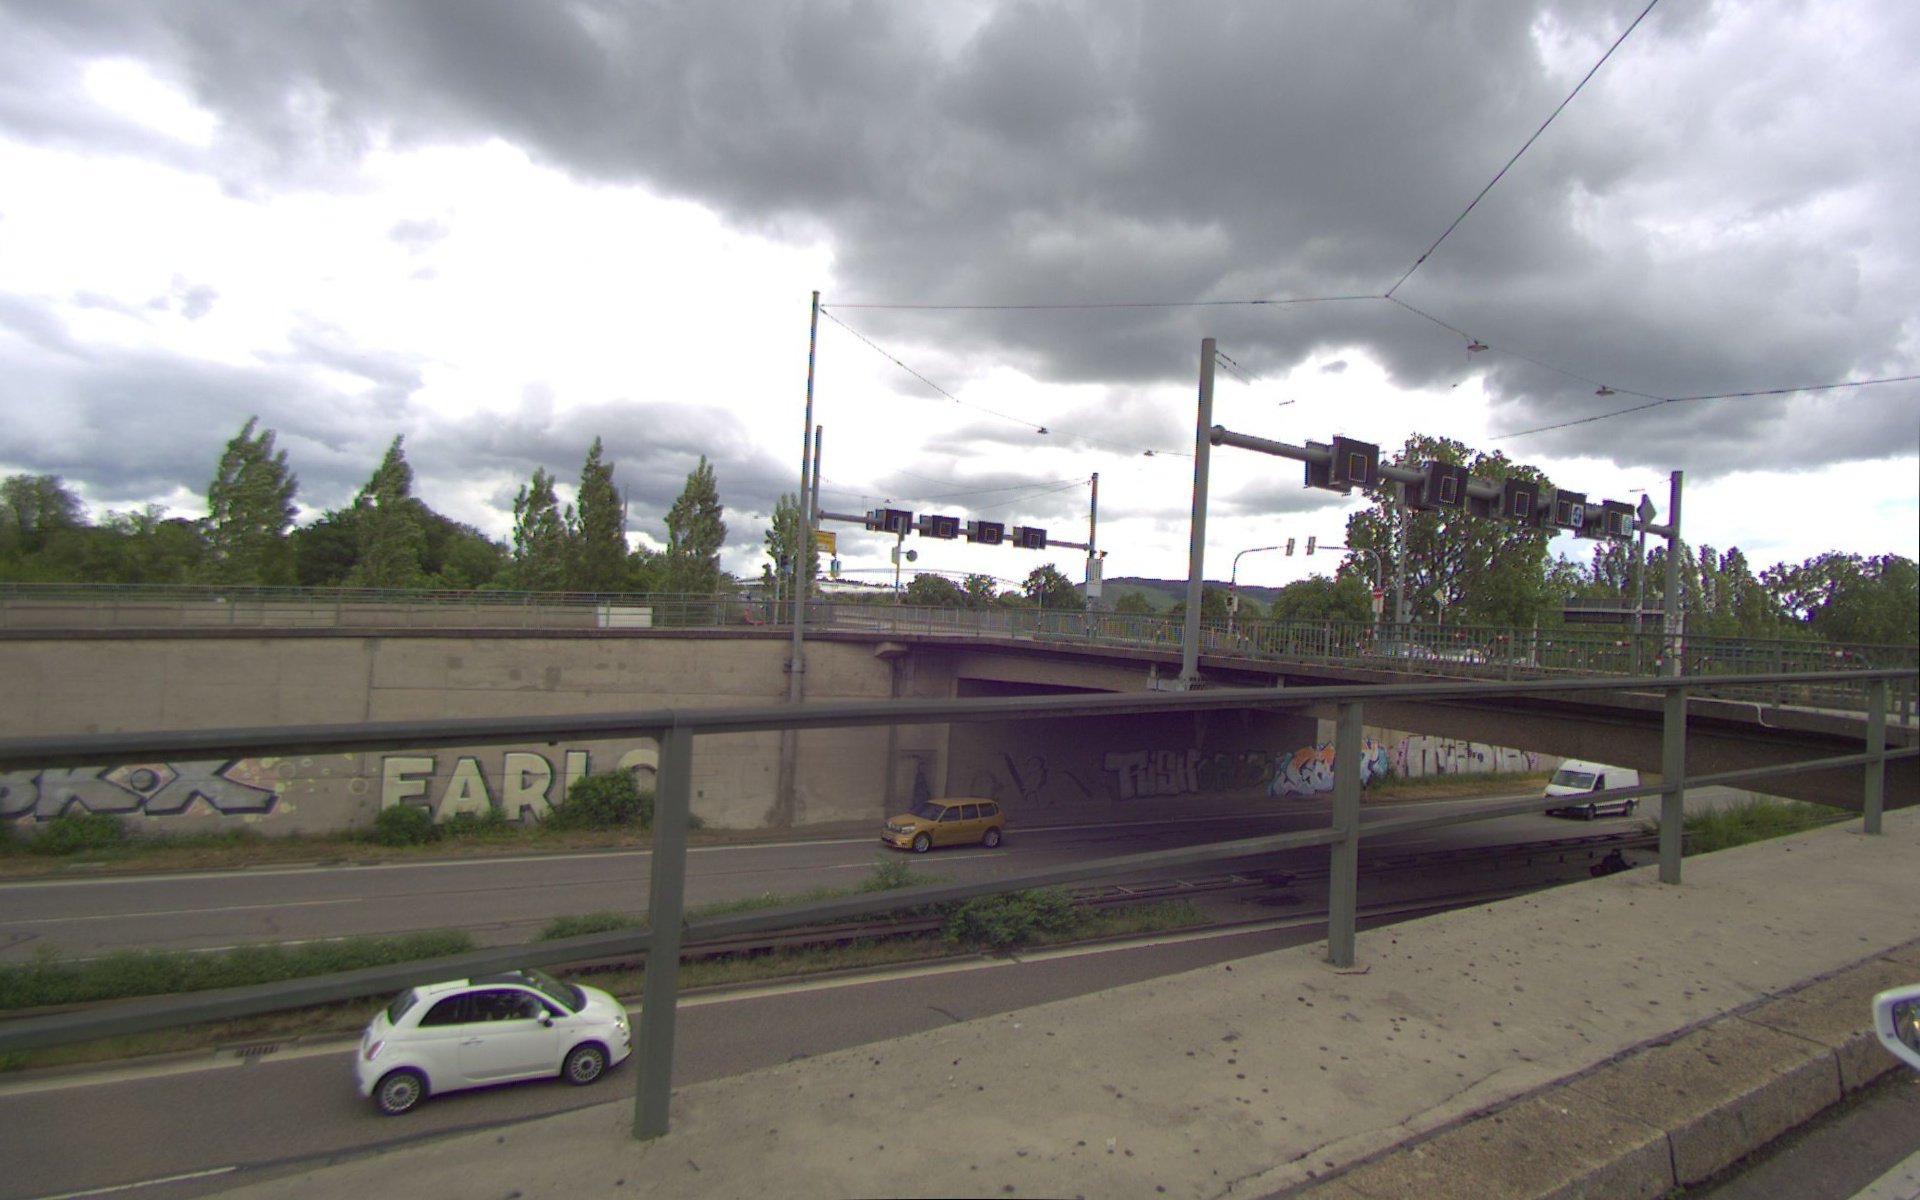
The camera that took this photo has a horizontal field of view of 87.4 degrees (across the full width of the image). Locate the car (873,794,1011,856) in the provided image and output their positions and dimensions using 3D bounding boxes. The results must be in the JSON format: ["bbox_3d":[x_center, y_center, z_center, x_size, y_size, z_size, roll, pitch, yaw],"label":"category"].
[{"bbox_3d":[-0.573,7.293,32.799,4.106,1.476,1.859,4,-3,-30],"label":"car"}]

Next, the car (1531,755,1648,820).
[{"bbox_3d":[30.120,8.890,47.974,6.032,2.628,2.157,5,-3,-30],"label":"car"}]

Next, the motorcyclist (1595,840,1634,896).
[{"bbox_3d":[18.403,7.515,28.241,0.753,1.389,0.591,4,-1,-29],"label":"motorcyclist"}]

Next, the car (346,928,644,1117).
[{"bbox_3d":[-6.514,5.834,14.248,3.565,1.553,1.685,4,-2,-29],"label":"car"}]

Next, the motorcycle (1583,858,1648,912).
[{"bbox_3d":[18.462,8.002,28.275,2.101,1.219,0.591,4,-2,-29],"label":"motorcycle"}]
